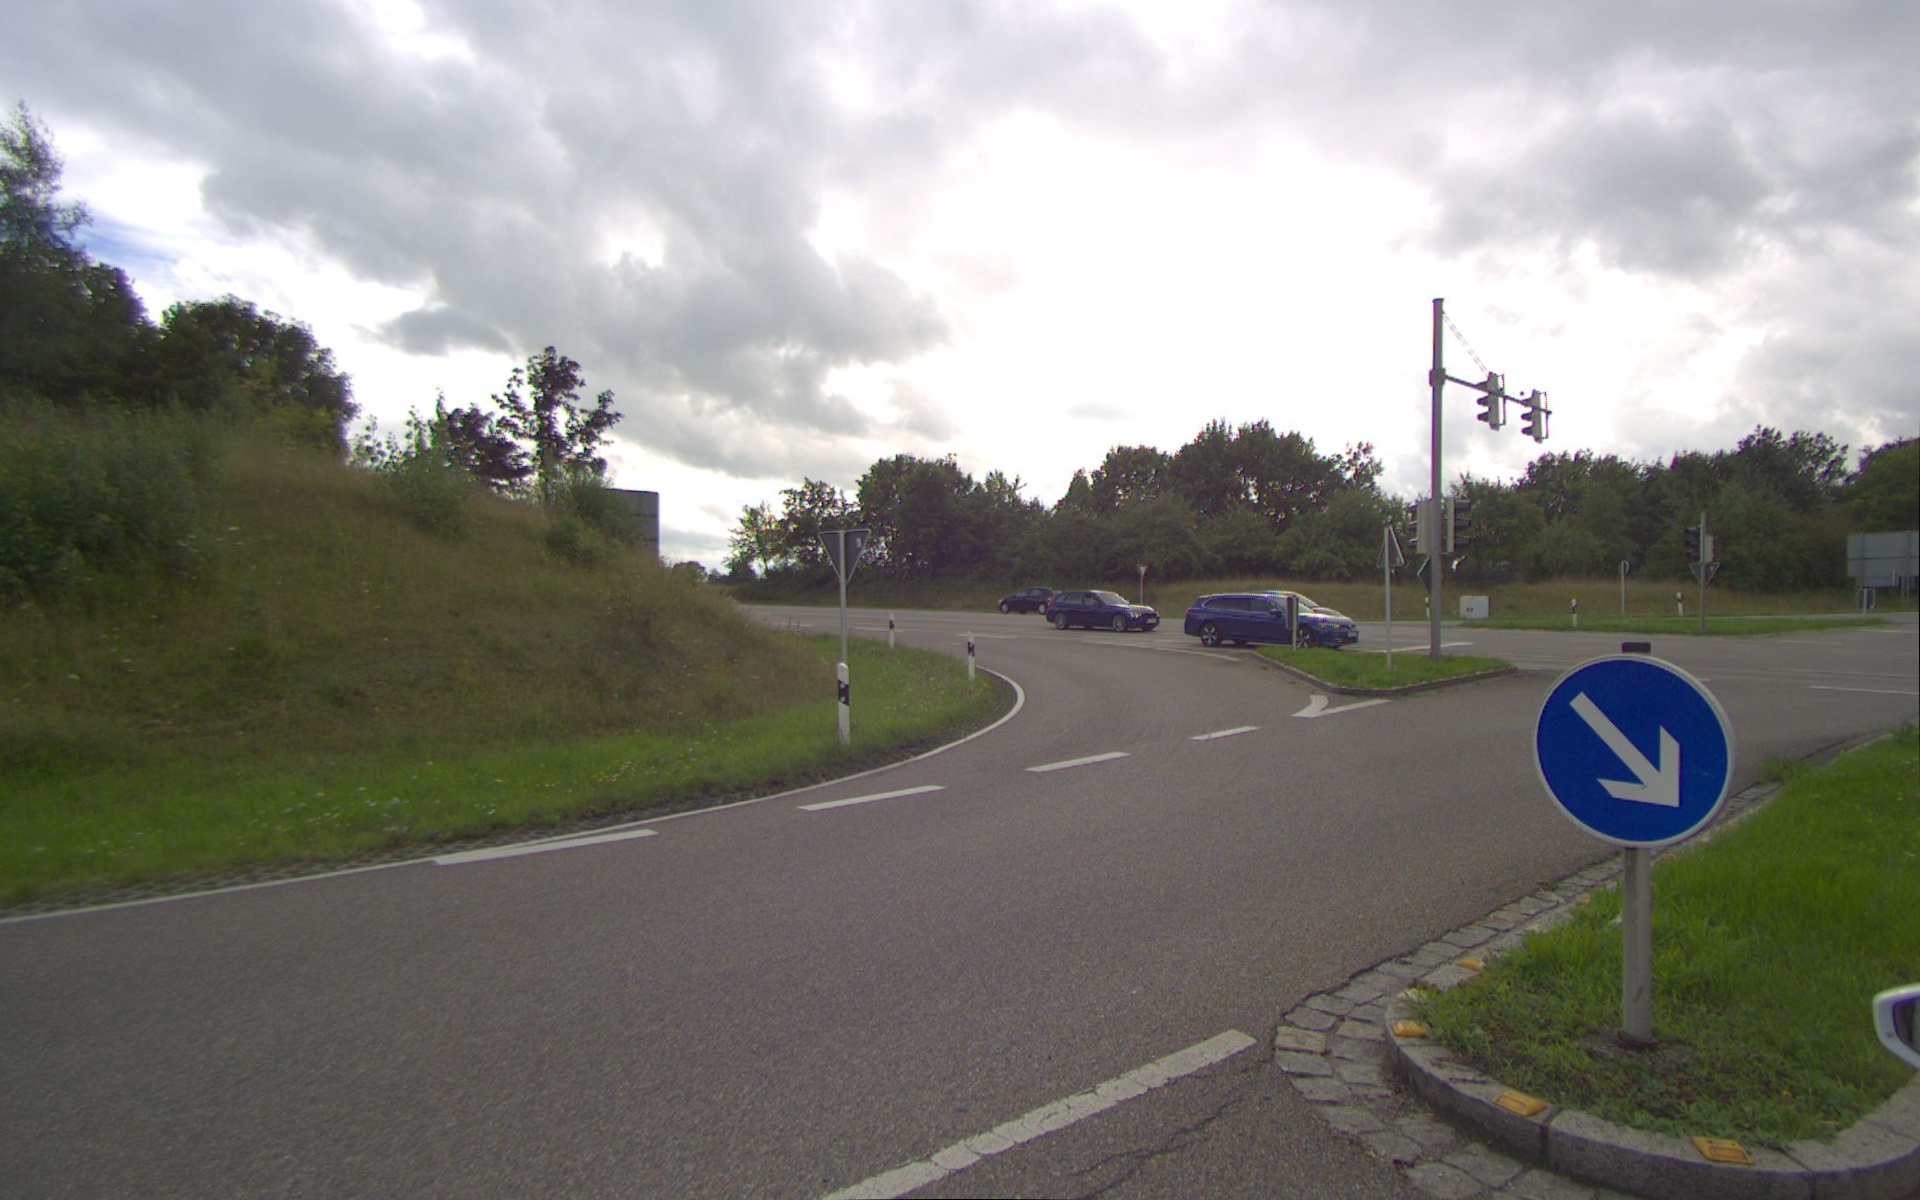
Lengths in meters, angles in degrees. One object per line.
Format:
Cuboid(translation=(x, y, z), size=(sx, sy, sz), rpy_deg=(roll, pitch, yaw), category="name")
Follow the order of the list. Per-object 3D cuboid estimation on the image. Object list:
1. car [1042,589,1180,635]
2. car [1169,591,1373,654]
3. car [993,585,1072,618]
Cuboid(translation=(5.464, 0.375, 36.759), size=(2.040, 1.504, 4.820), rpy_deg=(-2, 2, -43), category="car")
Cuboid(translation=(8.496, 0.541, 27.826), size=(2.038, 1.555, 5.060), rpy_deg=(-1, 2, -44), category="car")
Cuboid(translation=(3.891, 0.082, 54.111), size=(3.939, 1.712, 1.840), rpy_deg=(1, 0, 40), category="car")
